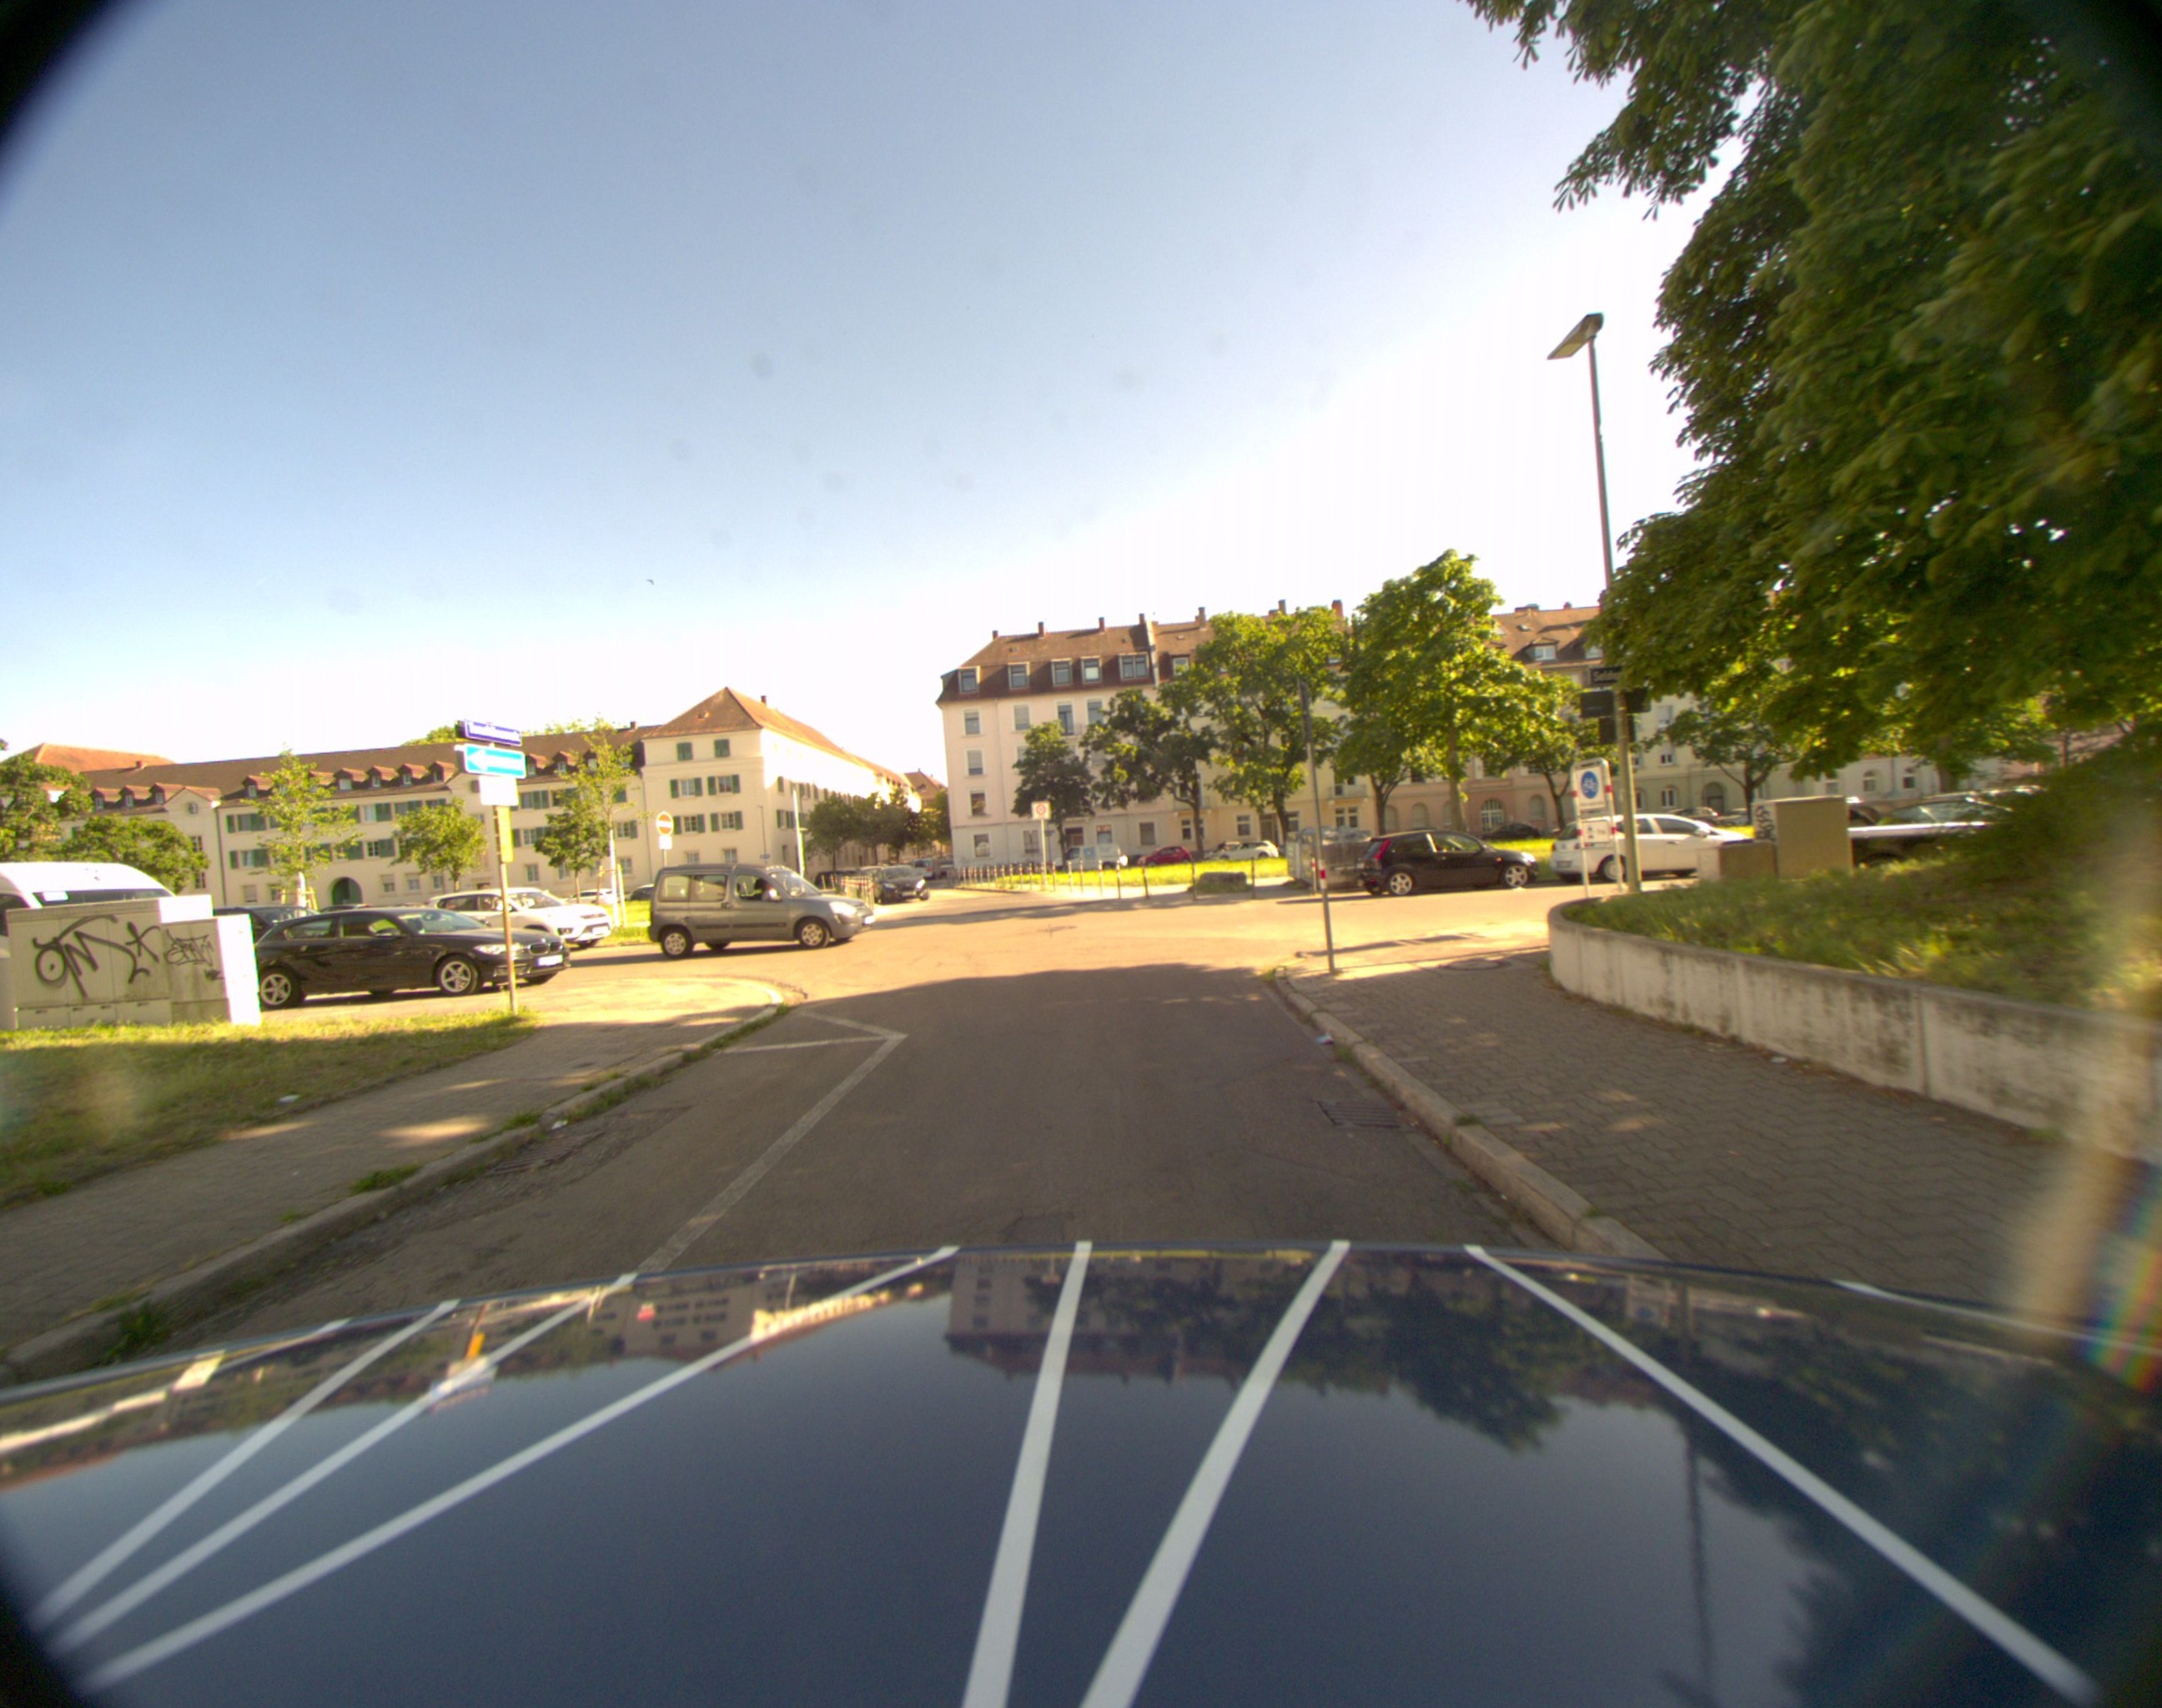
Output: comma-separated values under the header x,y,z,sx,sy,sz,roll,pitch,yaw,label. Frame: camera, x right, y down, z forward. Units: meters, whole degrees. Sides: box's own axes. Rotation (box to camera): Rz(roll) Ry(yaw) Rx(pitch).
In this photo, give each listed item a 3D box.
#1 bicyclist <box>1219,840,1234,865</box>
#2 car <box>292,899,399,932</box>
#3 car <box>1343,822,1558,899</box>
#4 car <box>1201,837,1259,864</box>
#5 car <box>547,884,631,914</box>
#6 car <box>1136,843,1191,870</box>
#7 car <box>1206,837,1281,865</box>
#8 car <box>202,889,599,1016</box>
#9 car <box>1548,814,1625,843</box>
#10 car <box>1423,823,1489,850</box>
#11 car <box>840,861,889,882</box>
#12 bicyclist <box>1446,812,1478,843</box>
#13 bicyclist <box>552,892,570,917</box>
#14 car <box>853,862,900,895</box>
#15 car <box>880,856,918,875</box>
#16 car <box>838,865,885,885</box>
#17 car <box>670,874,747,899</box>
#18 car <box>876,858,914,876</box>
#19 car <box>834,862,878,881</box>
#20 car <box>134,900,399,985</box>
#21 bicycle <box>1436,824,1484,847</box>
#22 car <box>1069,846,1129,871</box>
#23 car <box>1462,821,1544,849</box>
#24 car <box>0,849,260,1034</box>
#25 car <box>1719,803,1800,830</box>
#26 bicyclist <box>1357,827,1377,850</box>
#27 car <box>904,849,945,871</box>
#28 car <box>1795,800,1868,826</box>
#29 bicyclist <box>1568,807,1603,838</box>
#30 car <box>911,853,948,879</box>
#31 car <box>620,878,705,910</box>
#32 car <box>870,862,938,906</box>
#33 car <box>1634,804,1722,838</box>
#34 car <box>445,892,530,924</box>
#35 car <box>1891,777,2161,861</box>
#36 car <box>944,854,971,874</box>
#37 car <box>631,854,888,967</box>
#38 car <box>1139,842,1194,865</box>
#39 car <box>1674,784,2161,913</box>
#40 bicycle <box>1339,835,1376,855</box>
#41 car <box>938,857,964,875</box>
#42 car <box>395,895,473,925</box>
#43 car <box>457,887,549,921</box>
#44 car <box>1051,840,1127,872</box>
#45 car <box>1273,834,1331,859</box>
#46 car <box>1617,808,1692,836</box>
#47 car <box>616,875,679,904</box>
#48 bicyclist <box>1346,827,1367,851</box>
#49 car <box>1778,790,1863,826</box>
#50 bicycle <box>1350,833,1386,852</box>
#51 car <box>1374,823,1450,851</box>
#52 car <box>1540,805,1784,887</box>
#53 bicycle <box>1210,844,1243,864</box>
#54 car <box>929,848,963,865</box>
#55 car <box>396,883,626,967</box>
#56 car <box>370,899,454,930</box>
x,y,z,sx,sy,sz,roll,pitch,yaw,label
10.303,-0.125,53.827,0.878,1.681,0.632,-4,1,1,bicyclist
-53.521,4.483,55.352,5.448,1.810,2.459,-4,1,4,car
8.170,0.171,17.097,3.912,1.416,1.755,-3,-1,4,car
11.352,-0.256,58.209,3.996,1.747,1.869,-4,1,2,car
-38.992,3.571,60.304,5.154,1.875,2.161,-4,1,2,car
6.304,0.159,58.469,4.050,1.741,2.000,-4,1,3,car
11.177,-0.225,52.389,4.694,1.552,1.699,-4,1,0,car
-10.525,1.481,12.018,4.495,1.473,1.965,-4,-1,2,car
34.237,-1.704,51.501,4.078,1.677,1.636,-4,1,0,car
28.282,-1.329,57.333,3.995,1.691,1.852,-4,1,5,car
-21.218,1.671,74.536,4.239,1.692,1.706,-4,1,0,car
24.028,-1.647,47.955,1.449,1.826,0.944,-3,0,-6,bicyclist
-39.893,3.868,58.298,0.801,1.792,0.675,-4,1,2,bicyclist
-11.368,1.345,42.091,1.930,1.567,4.341,-5,0,-21,car
-20.598,1.281,86.210,3.710,1.824,1.956,-4,1,-1,car
-19.987,1.877,69.394,3.664,1.512,1.713,-4,1,2,car
-29.277,2.541,59.797,4.954,1.476,2.000,-4,0,2,car
-20.465,1.409,83.816,3.613,1.631,1.831,-4,1,-1,car
-21.384,1.688,72.298,3.613,1.512,1.708,-4,1,-1,car
-20.242,2.174,19.014,4.710,1.628,1.849,-4,-1,3,car
23.893,-1.153,47.948,2.633,1.245,0.812,-5,1,-6,bicycle
1.343,0.352,58.449,4.449,1.577,1.999,-4,1,-1,car
28.710,-1.309,51.769,4.524,1.540,1.762,-4,1,0,car
-18.163,1.526,12.683,6.834,2.696,2.150,-4,-1,4,car
45.524,-2.509,51.063,3.770,1.421,1.700,-4,1,4,car
18.151,-0.978,48.203,0.942,1.429,0.740,-3,0,2,bicyclist
-20.916,0.780,101.932,4.953,2.505,1.956,-4,1,-1,car
50.201,-2.710,50.875,3.338,1.432,1.385,-4,1,4,car
31.277,-1.956,47.102,1.448,1.826,0.944,-3,0,2,bicyclist
-13.075,0.987,65.915,2.139,2.002,4.576,-4,1,0,car
-29.849,2.860,54.313,4.701,1.810,2.165,-4,1,1,car
-7.138,1.147,30.360,1.922,1.401,4.341,-7,2,-21,car
40.254,-2.207,51.284,4.457,1.897,1.742,-4,1,0,car
-42.814,3.855,54.904,4.254,1.810,2.243,-4,1,1,car
20.553,-0.738,16.363,4.122,1.453,1.785,-4,1,4,car
-13.220,1.037,81.600,1.999,1.962,5.051,-4,1,-2,car
-6.241,1.060,15.113,4.153,1.780,1.904,-5,1,2,car
5.878,-0.031,52.579,3.523,1.272,1.699,-4,1,0,car
11.523,-0.032,10.704,4.501,1.329,2.133,-4,-2,4,car
17.066,-0.583,46.935,1.954,1.073,0.734,-4,1,1,bicycle
-13.085,1.229,76.616,1.937,1.560,3.881,-4,1,-1,car
-51.765,4.470,60.853,4.163,1.894,2.271,-4,1,1,car
-46.139,3.970,60.773,5.253,2.203,2.539,-4,1,1,car
0.526,0.110,53.159,5.094,1.861,2.088,-4,1,0,car
16.811,-0.553,57.917,3.857,1.606,1.890,-4,1,2,car
42.947,-2.402,56.957,4.023,1.741,1.948,-4,1,2,car
-34.237,2.799,60.051,3.893,2.002,1.671,-4,1,2,car
17.018,-0.914,46.936,0.942,1.429,0.740,-3,0,2,bicyclist
54.808,-3.385,56.357,4.460,2.246,1.781,-4,1,1,car
18.194,-0.713,48.160,1.954,1.073,0.734,-4,1,1,bicycle
22.523,-1.163,51.771,4.351,1.540,1.636,-4,1,0,car
12.664,-0.149,16.771,3.871,1.486,1.784,-4,-1,4,car
10.319,0.017,53.834,2.152,1.251,0.714,-4,1,1,bicycle
-21.679,0.381,121.960,4.953,2.381,1.956,-4,1,-1,car
-13.765,1.689,18.500,4.283,1.637,1.763,-4,-1,4,car
-48.465,4.380,55.137,4.004,1.740,2.325,-4,1,4,car
